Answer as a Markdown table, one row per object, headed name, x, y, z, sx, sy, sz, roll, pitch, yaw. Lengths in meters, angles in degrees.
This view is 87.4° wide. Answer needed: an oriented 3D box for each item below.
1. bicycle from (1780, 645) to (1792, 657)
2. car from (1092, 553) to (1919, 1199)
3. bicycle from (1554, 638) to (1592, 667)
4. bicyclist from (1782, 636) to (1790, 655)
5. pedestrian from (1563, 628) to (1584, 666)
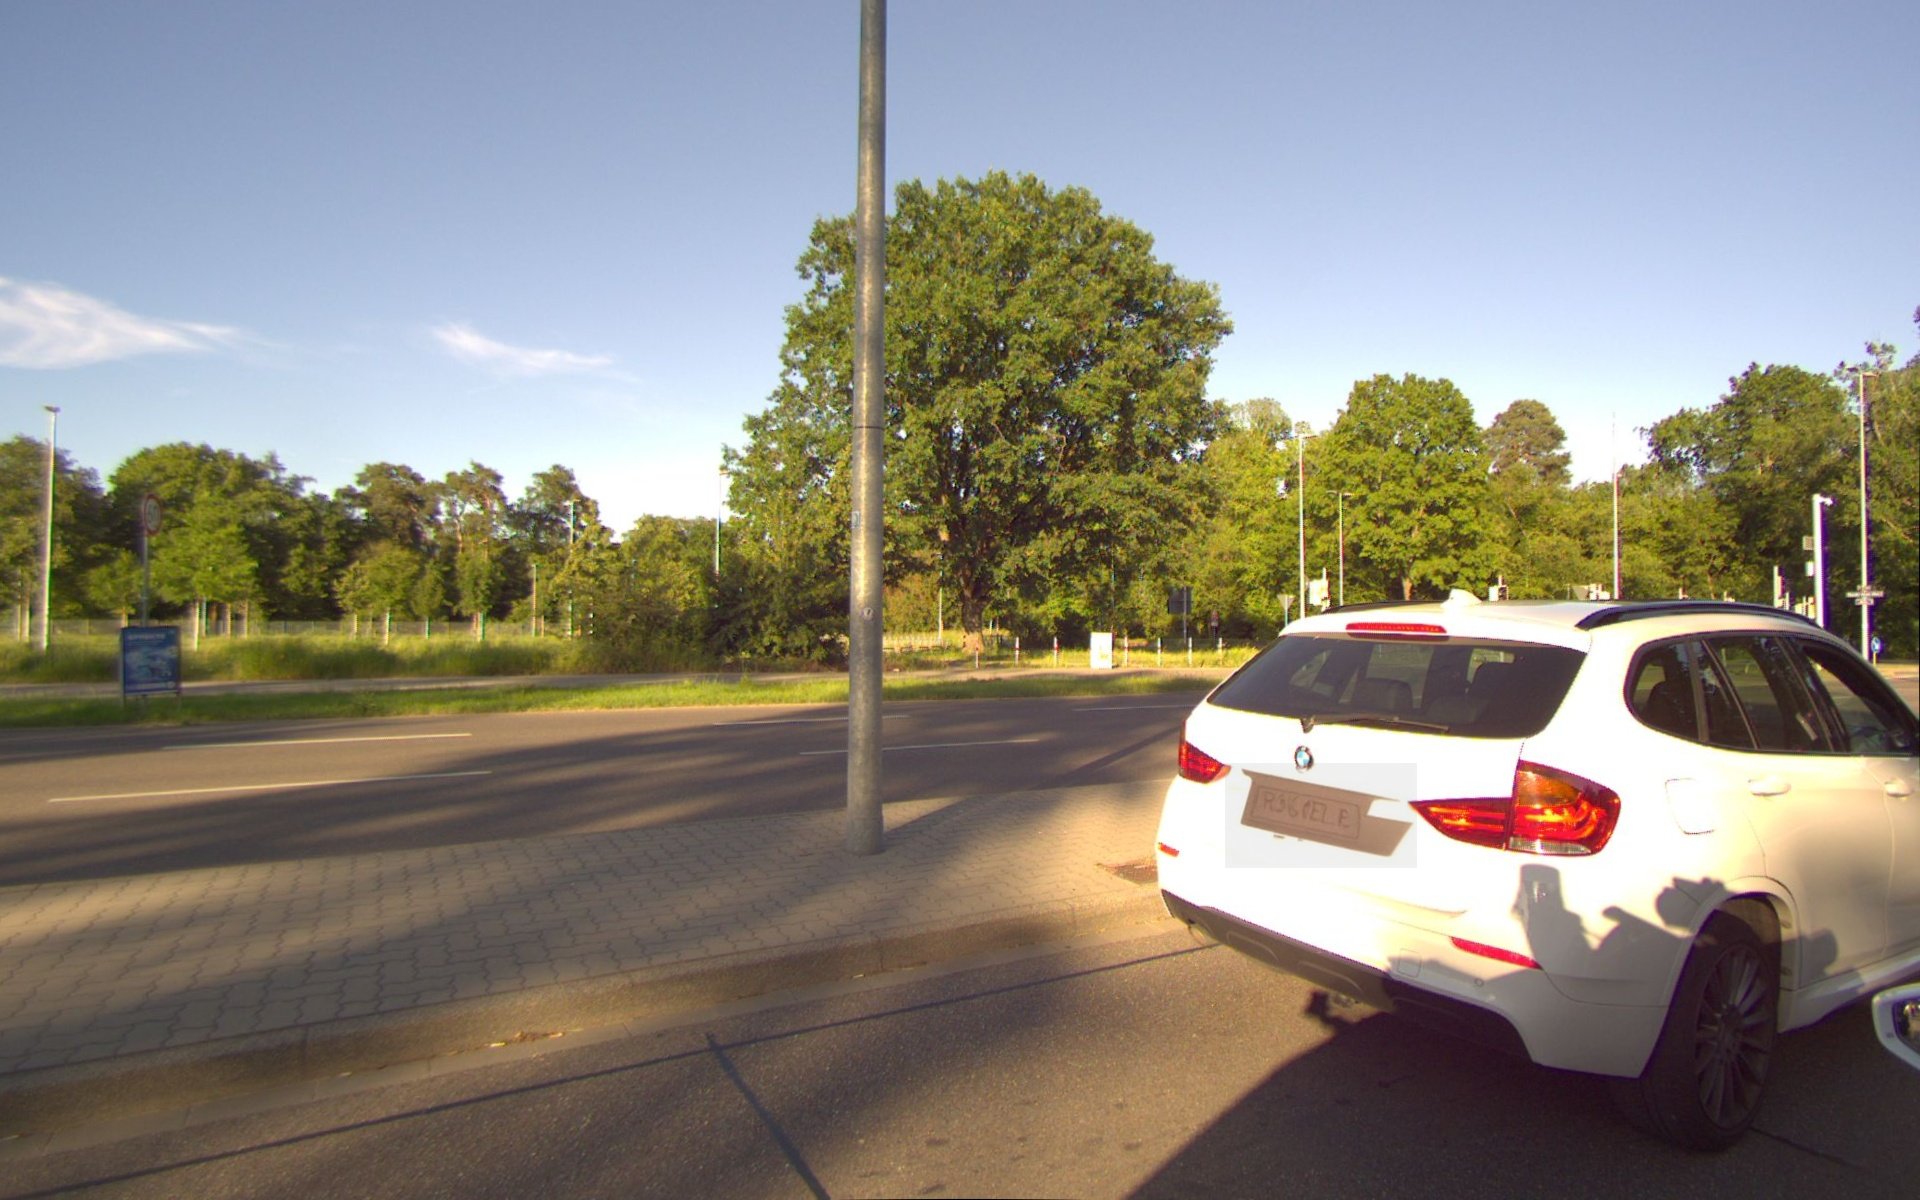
| name | x | y | z | sx | sy | sz | roll | pitch | yaw |
| --- | --- | --- | --- | --- | --- | --- | --- | --- | --- |
| bicycle | 44.273 | 2.726 | 53.837 | 0.831 | 0.589 | 0.264 | 2 | 0 | -36 |
| car | 2.814 | 0.735 | 4.125 | 4.383 | 1.602 | 1.710 | 1 | 0 | -31 |
| bicycle | 26.113 | 2.244 | 42.784 | 1.980 | 1.193 | 0.466 | 2 | 0 | -31 |
| bicyclist | 44.258 | 2.447 | 53.819 | 0.238 | 0.975 | 0.271 | 2 | 0 | -36 |
| pedestrian | 26.148 | 1.985 | 42.797 | 0.641 | 1.583 | 0.479 | 2 | 0 | -30 |
